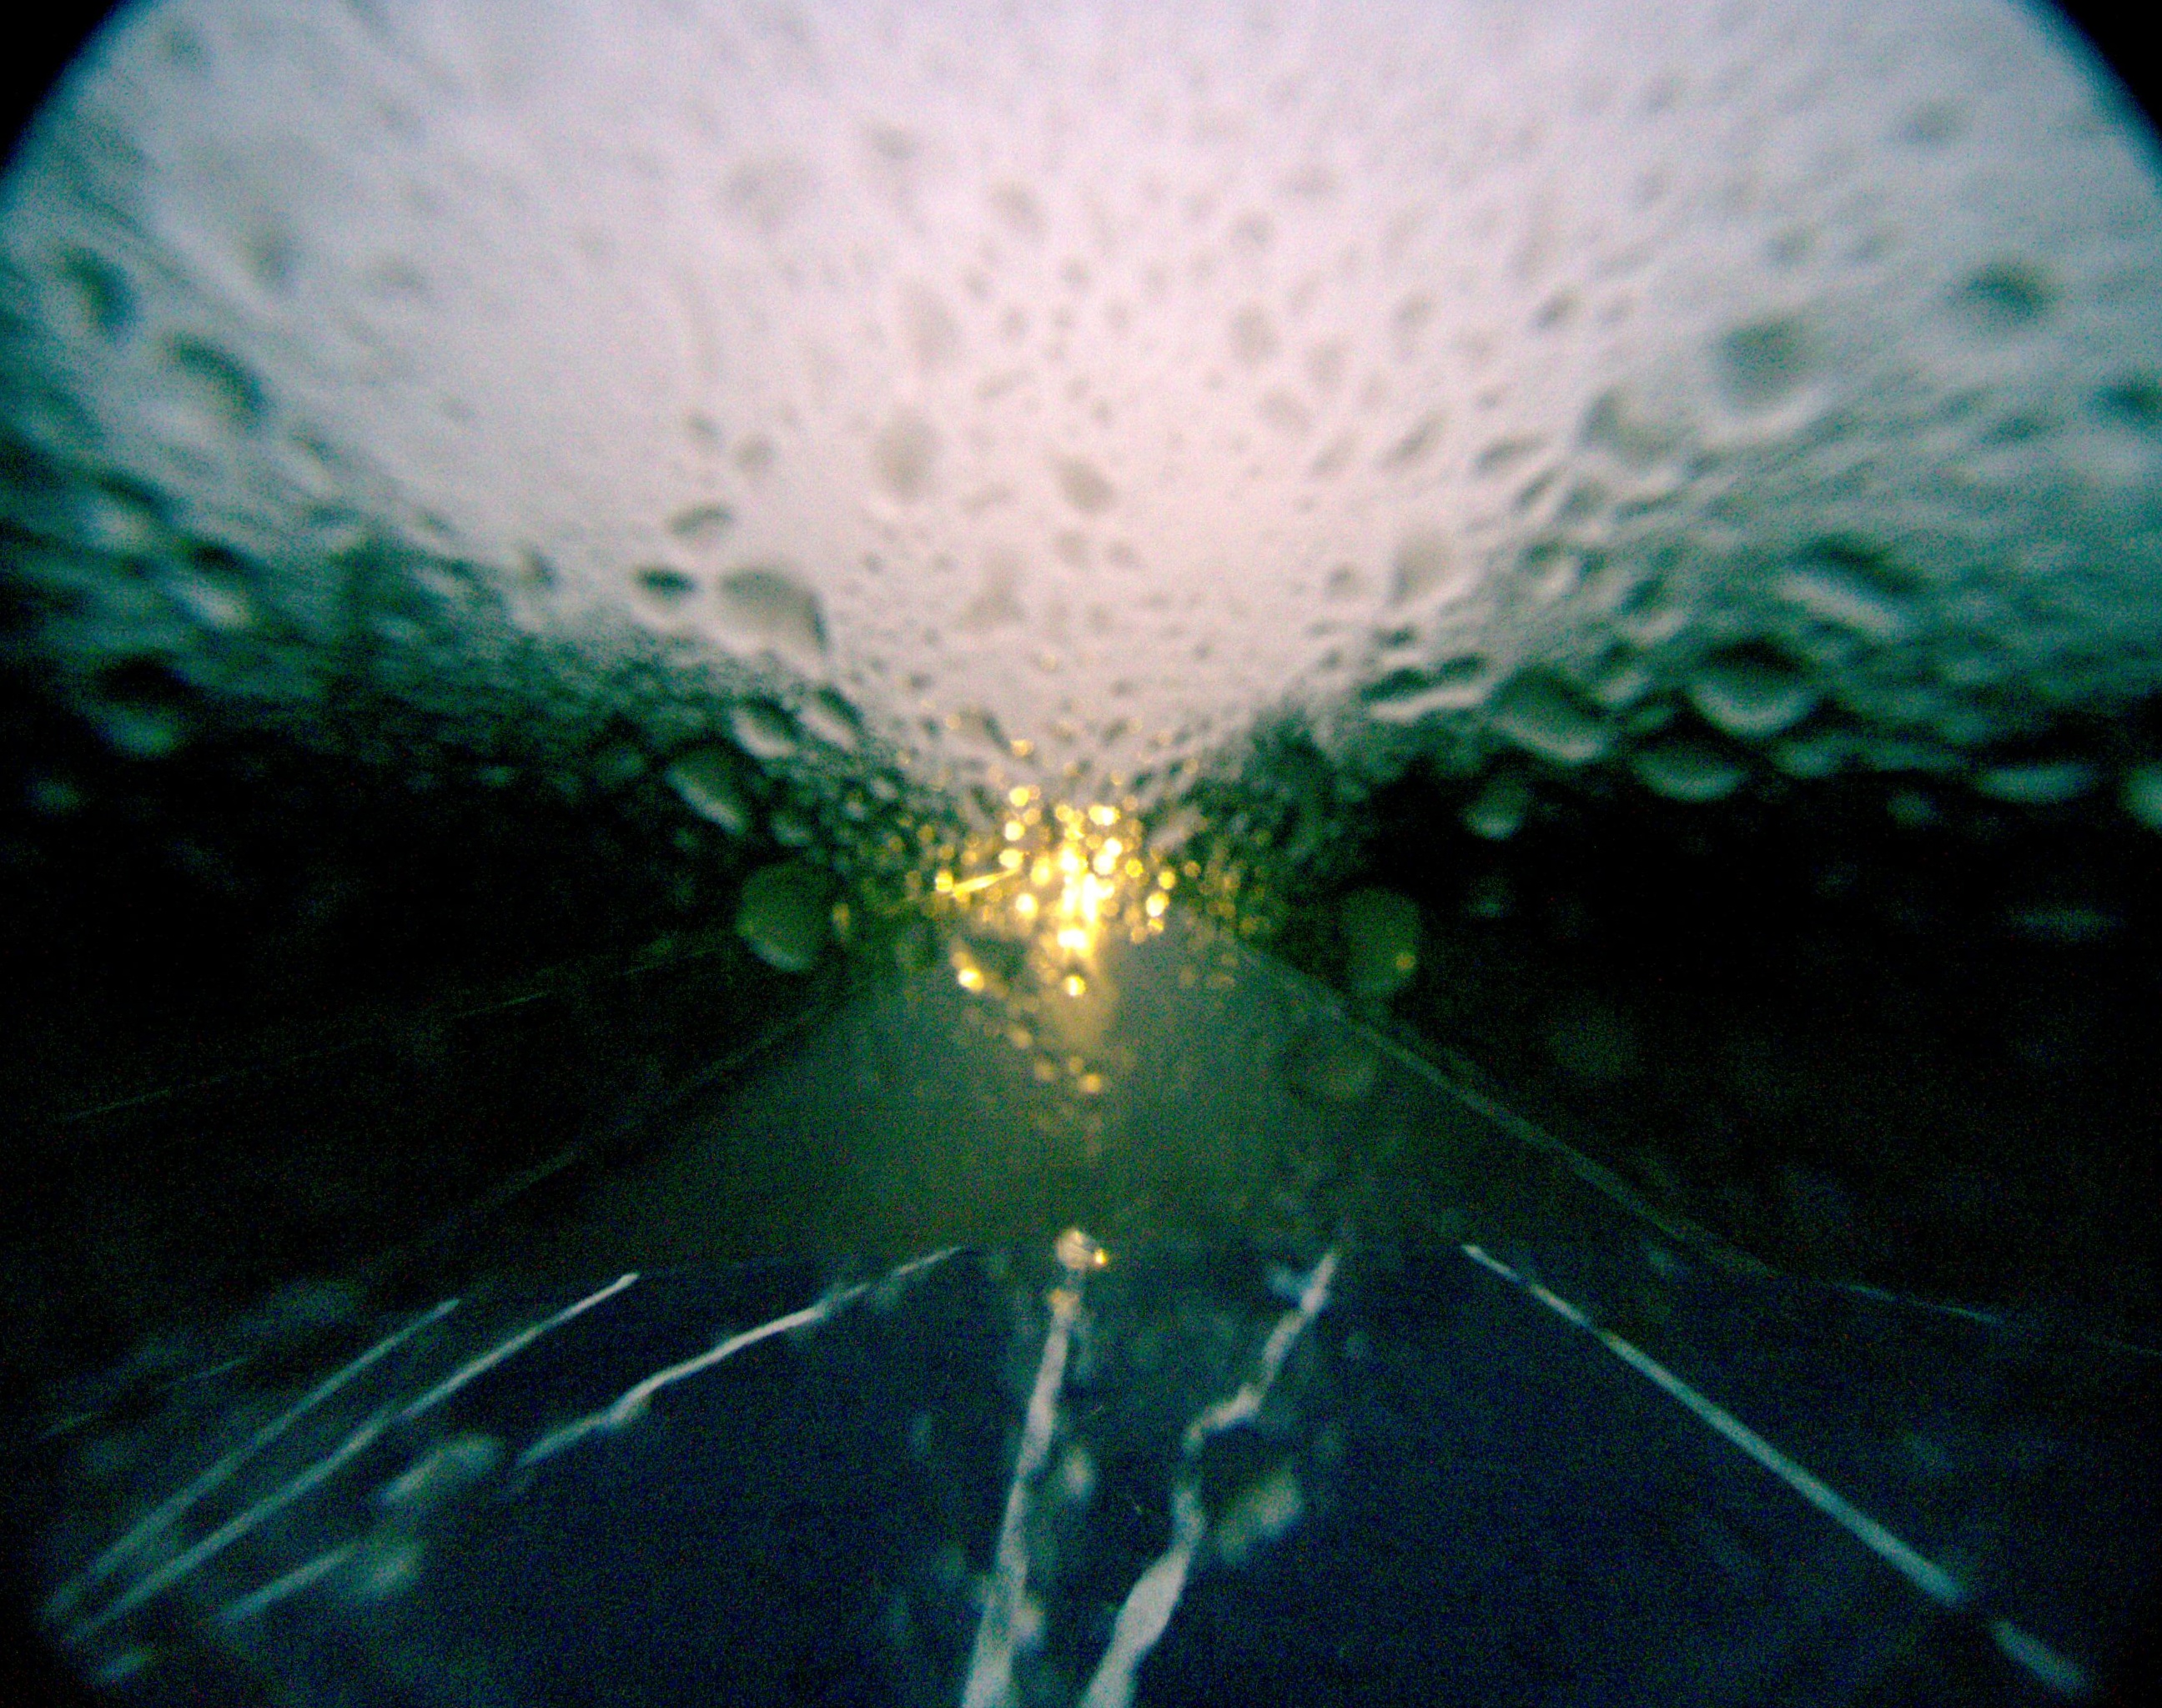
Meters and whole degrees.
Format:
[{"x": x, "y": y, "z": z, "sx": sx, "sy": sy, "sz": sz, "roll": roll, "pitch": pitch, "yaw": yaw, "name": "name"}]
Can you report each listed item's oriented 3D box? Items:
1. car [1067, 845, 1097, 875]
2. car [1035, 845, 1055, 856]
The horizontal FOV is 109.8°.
[{"x": 0.123, "y": 0.430, "z": 52.996, "sx": 1.998, "sy": 2.001, "sz": 3.965, "roll": 1, "pitch": -1, "yaw": 1, "name": "car"}, {"x": -7.014, "y": -0.719, "z": 148.625, "sx": 2.003, "sy": 2.002, "sz": 4.219, "roll": -2, "pitch": 1, "yaw": -31, "name": "car"}]
